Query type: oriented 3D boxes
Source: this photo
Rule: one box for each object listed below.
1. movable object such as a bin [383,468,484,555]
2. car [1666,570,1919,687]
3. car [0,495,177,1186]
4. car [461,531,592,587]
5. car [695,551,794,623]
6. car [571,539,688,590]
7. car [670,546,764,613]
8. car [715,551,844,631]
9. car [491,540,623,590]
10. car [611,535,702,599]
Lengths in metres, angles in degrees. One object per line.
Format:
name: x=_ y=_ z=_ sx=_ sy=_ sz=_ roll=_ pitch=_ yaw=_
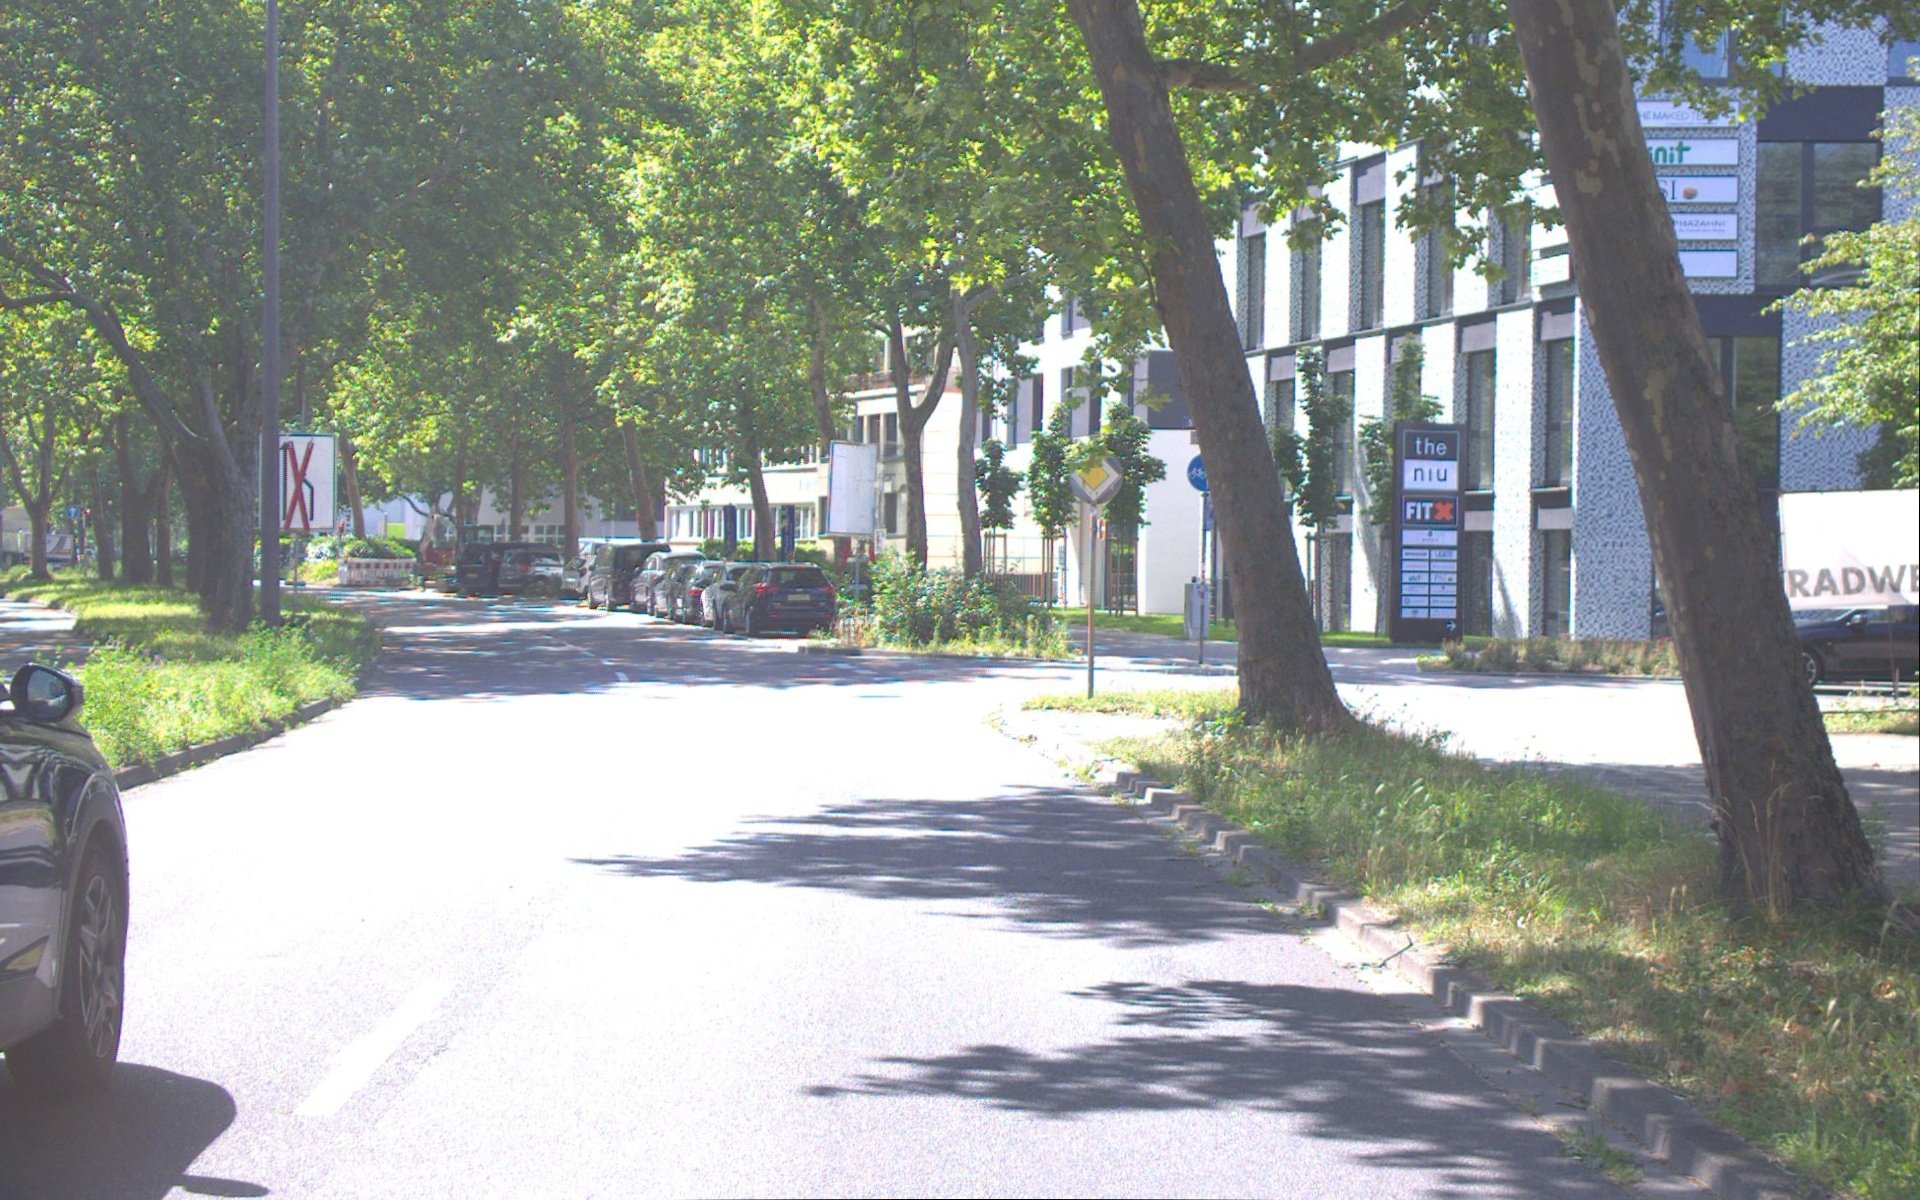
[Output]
movable object such as a bin: x=-19.847 y=-3.326 z=129.551 sx=2.329 sy=3.230 sz=3.430 roll=-1 pitch=2 yaw=-40
car: x=12.144 y=0.390 z=48.090 sx=4.249 sy=1.512 sz=2.000 roll=1 pitch=1 yaw=7
car: x=-3.288 y=0.598 z=8.323 sx=1.872 sy=1.690 sz=4.436 roll=-1 pitch=1 yaw=-2
car: x=-14.901 y=-1.414 z=118.277 sx=4.100 sy=1.873 sz=1.785 roll=-1 pitch=2 yaw=-32
car: x=-4.734 y=-0.308 z=75.071 sx=1.706 sy=1.482 sz=4.102 roll=0 pitch=1 yaw=-10
car: x=-10.779 y=-1.165 z=112.022 sx=3.551 sy=1.634 sz=1.659 roll=0 pitch=1 yaw=-17
car: x=-5.688 y=-0.500 z=80.084 sx=1.706 sy=1.450 sz=4.657 roll=0 pitch=1 yaw=-10
car: x=-3.686 y=-0.207 z=69.309 sx=1.706 sy=1.482 sz=4.720 roll=-1 pitch=2 yaw=-14
car: x=-13.678 y=-1.197 z=116.802 sx=4.100 sy=1.627 sz=1.712 roll=-1 pitch=2 yaw=-30
car: x=-8.207 y=-0.915 z=92.645 sx=1.706 sy=1.664 sz=4.535 roll=0 pitch=1 yaw=-15
